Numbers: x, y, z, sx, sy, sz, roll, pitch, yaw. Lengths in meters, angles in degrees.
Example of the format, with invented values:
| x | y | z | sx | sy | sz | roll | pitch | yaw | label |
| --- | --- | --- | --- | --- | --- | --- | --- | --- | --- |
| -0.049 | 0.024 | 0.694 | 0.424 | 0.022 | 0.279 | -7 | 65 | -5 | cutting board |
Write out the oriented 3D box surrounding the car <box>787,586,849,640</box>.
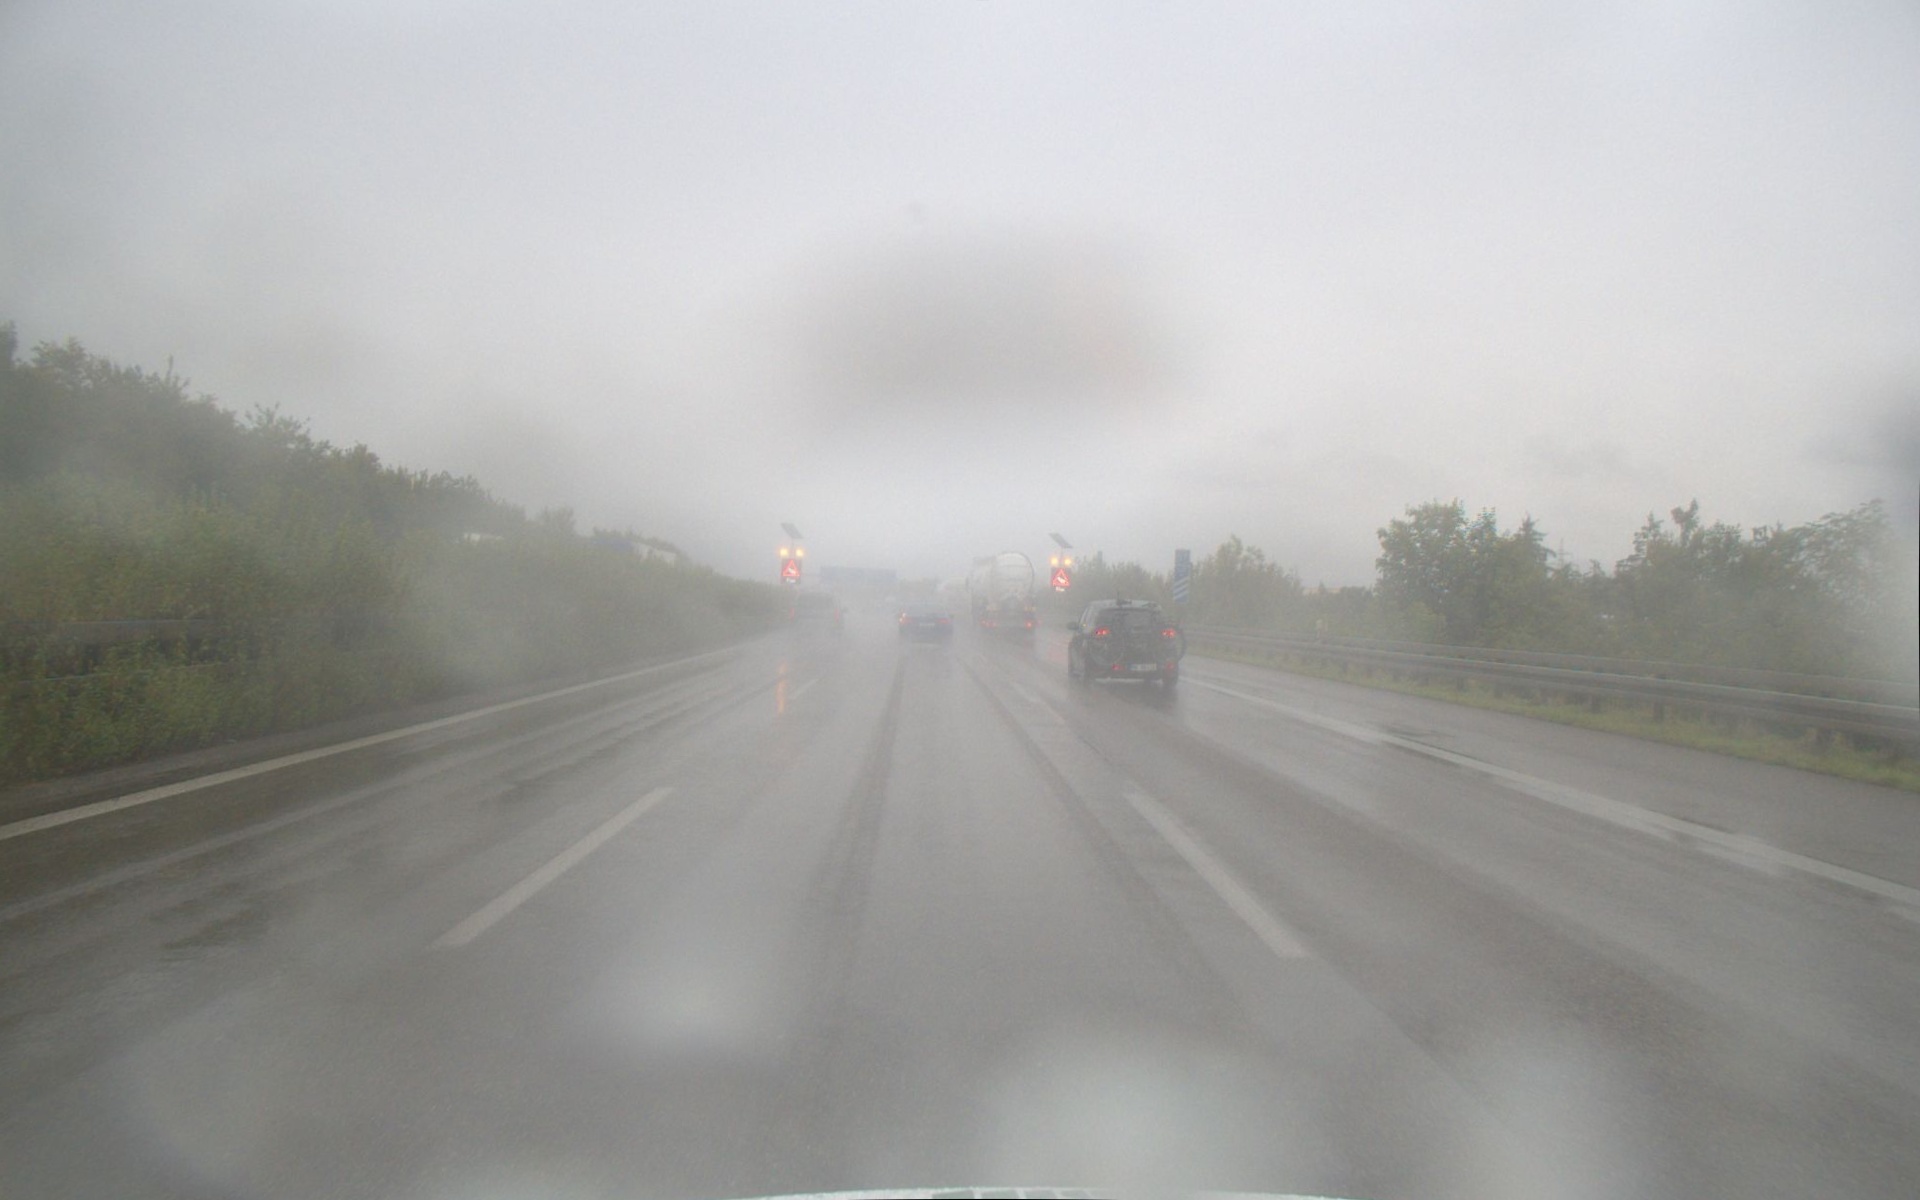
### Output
| x | y | z | sx | sy | sz | roll | pitch | yaw | label |
| --- | --- | --- | --- | --- | --- | --- | --- | --- | --- |
| -4.923 | 0.421 | 57.759 | 1.886 | 1.771 | 4.402 | 1 | 0 | -2 | car |

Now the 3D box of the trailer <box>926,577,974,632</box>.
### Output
| x | y | z | sx | sy | sz | roll | pitch | yaw | label |
| --- | --- | --- | --- | --- | --- | --- | --- | --- | --- |
| -0.811 | 0.365 | 123.100 | 2.946 | 3.915 | 8.614 | 0 | 0 | -5 | trailer |

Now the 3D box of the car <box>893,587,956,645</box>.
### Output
| x | y | z | sx | sy | sz | roll | pitch | yaw | label |
| --- | --- | --- | --- | --- | --- | --- | --- | --- | --- |
| -1.178 | 0.492 | 53.793 | 1.938 | 1.787 | 4.480 | 1 | 0 | -2 | car |

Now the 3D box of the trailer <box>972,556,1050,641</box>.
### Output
| x | y | z | sx | sy | sz | roll | pitch | yaw | label |
| --- | --- | --- | --- | --- | --- | --- | --- | --- | --- |
| 2.308 | -0.077 | 79.361 | 3.124 | 3.734 | 11.663 | 1 | 0 | -1 | trailer |

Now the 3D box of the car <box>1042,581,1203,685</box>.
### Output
| x | y | z | sx | sy | sz | roll | pitch | yaw | label |
| --- | --- | --- | --- | --- | --- | --- | --- | --- | --- |
| 2.993 | 0.586 | 31.912 | 2.408 | 1.776 | 5.717 | 1 | 0 | -1 | car |
